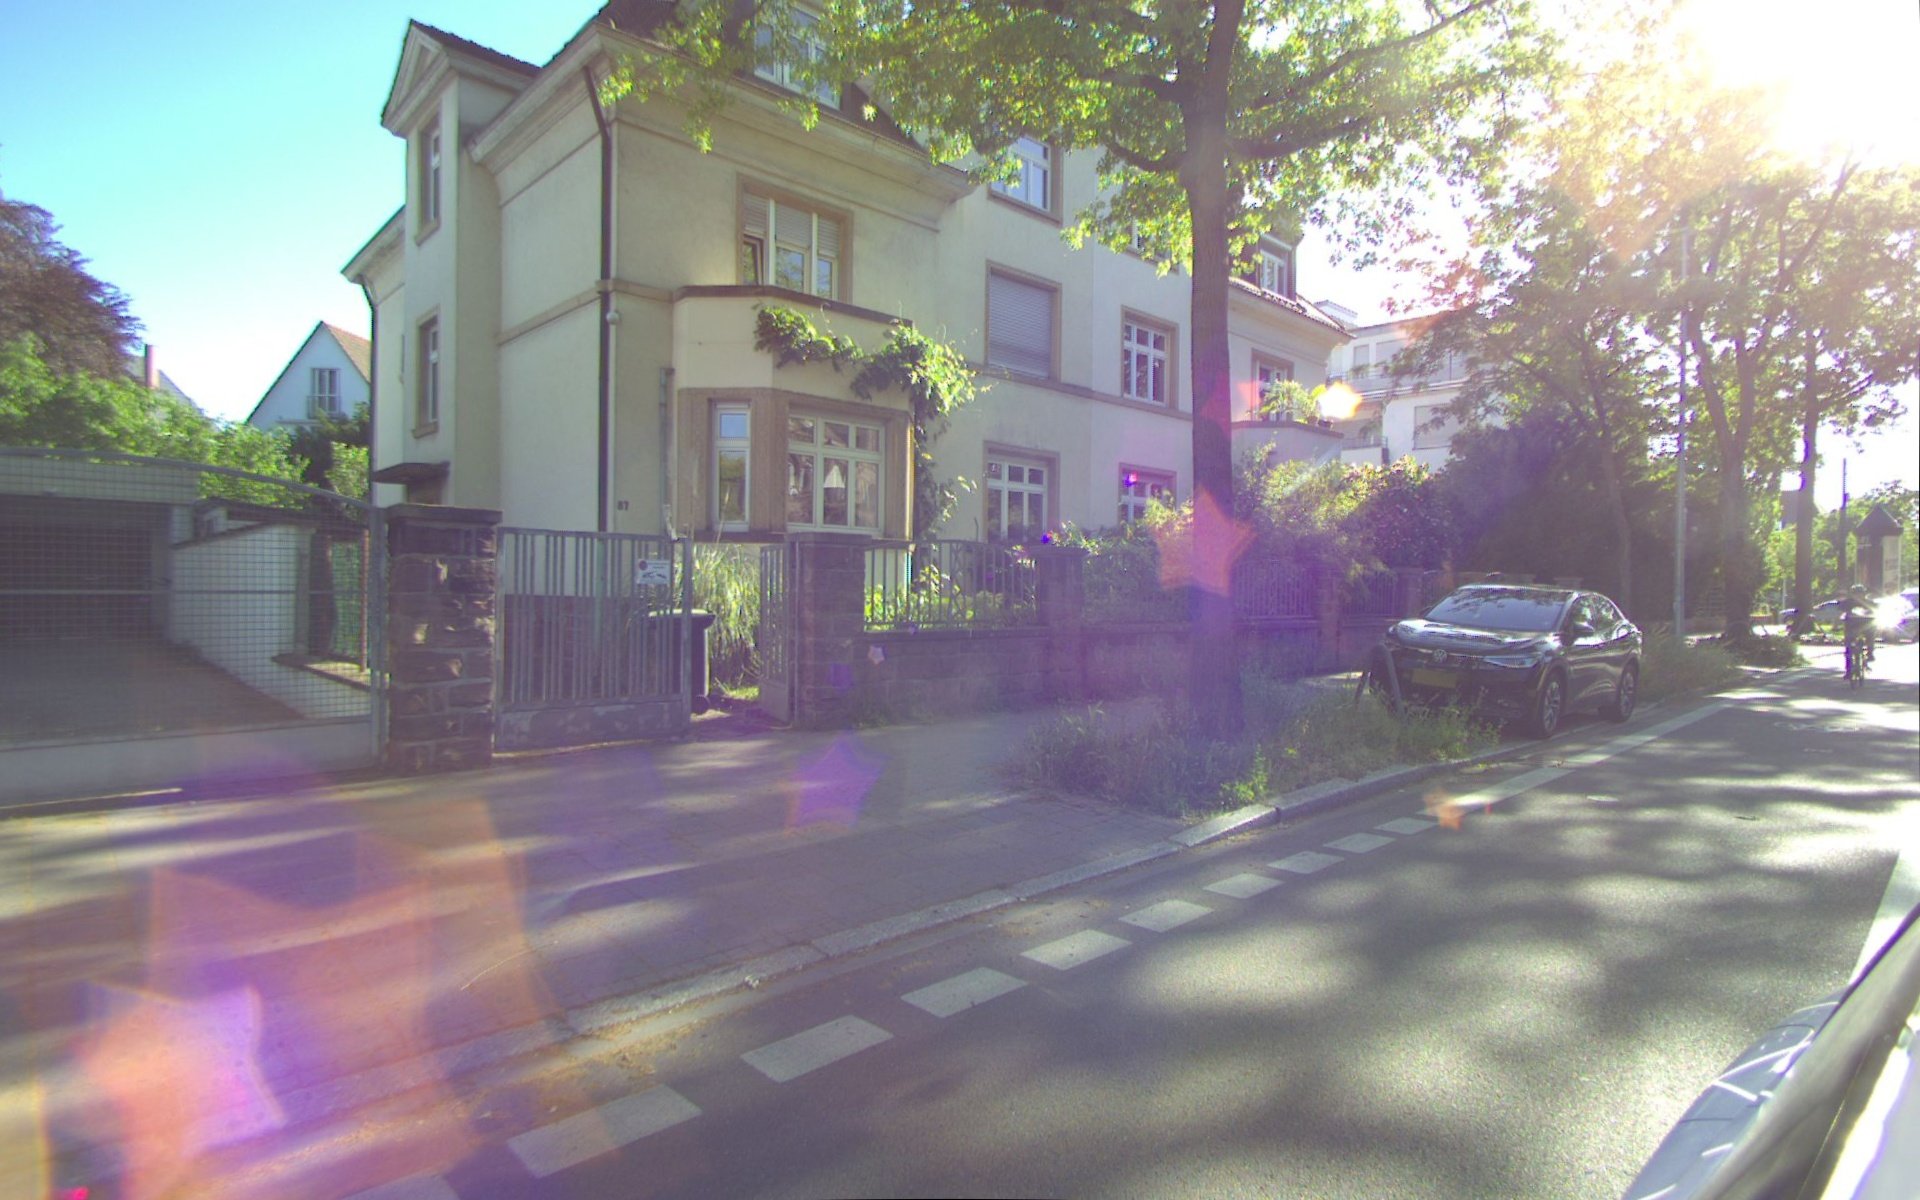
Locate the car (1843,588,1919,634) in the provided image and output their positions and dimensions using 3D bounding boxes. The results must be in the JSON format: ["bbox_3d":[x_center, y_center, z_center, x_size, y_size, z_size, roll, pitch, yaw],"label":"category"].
[{"bbox_3d":[31.553,0.328,34.422,3.930,1.469,1.785,0,1,-41],"label":"car"}]

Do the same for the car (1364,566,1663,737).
[{"bbox_3d":[6.691,0.491,12.068,4.020,1.626,1.743,0,4,-41],"label":"car"}]

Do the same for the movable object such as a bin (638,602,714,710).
[{"bbox_3d":[-3.056,0.564,10.837,0.697,1.070,1.093,0,0,-20],"label":"movable object such as a bin"}]

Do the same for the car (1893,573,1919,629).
[{"bbox_3d":[36.788,0.040,38.084,4.503,2.039,1.997,0,1,-41],"label":"car"}]

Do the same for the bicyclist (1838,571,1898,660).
[{"bbox_3d":[15.856,0.254,17.676,1.095,1.506,0.645,0,0,-41],"label":"bicyclist"}]

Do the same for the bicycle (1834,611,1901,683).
[{"bbox_3d":[15.857,0.789,17.672,1.868,1.158,0.644,0,0,-41],"label":"bicycle"}]
